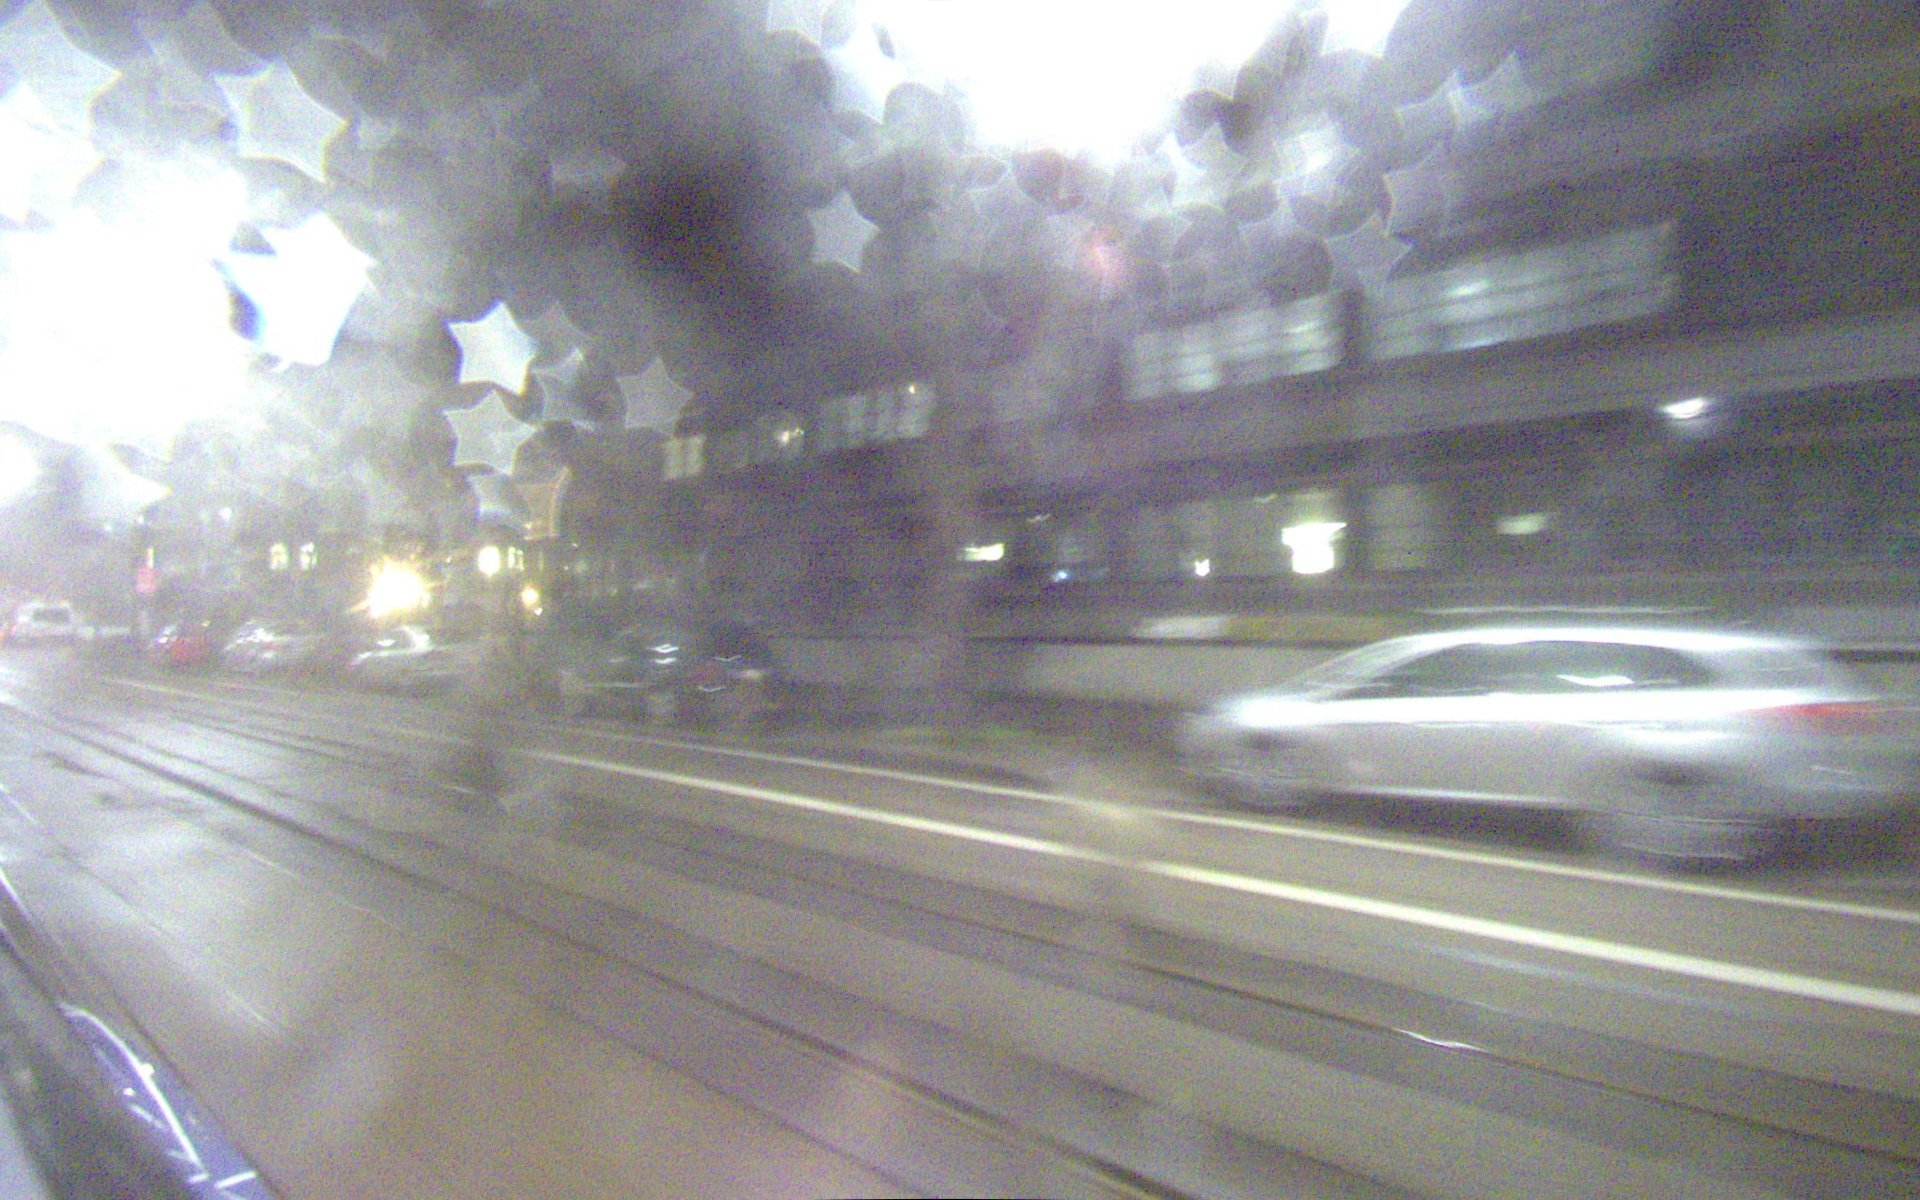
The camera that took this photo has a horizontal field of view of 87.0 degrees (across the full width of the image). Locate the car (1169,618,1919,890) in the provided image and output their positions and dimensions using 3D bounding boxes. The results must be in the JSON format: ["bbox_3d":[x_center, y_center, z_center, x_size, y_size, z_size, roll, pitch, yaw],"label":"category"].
[{"bbox_3d":[4.033,0.862,7.491,4.603,1.451,1.755,-1,-1,39],"label":"car"}]

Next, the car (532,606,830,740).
[{"bbox_3d":[-4.318,0.960,15.313,4.586,1.631,2.122,-1,2,41],"label":"car"}]

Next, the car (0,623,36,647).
[{"bbox_3d":[-60.260,2.200,64.408,3.387,1.418,1.698,-1,2,40],"label":"car"}]

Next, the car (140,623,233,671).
[{"bbox_3d":[-26.148,1.534,34.168,3.948,1.467,1.701,-1,0,41],"label":"car"}]

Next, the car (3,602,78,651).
[{"bbox_3d":[-51.183,1.415,56.298,5.254,2.527,2.221,-1,2,39],"label":"car"}]

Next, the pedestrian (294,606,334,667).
[{"bbox_3d":[-20.915,1.157,32.770,1.290,1.916,0.784,-1,0,41],"label":"pedestrian"}]

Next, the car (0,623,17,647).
[{"bbox_3d":[-66.931,2.424,70.129,3.661,1.593,1.823,-1,2,40],"label":"car"}]

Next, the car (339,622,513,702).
[{"bbox_3d":[-11.289,1.220,21.244,4.624,1.449,1.713,-1,0,41],"label":"car"}]

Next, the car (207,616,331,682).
[{"bbox_3d":[-19.387,1.314,28.340,4.351,1.590,1.791,-1,2,41],"label":"car"}]
